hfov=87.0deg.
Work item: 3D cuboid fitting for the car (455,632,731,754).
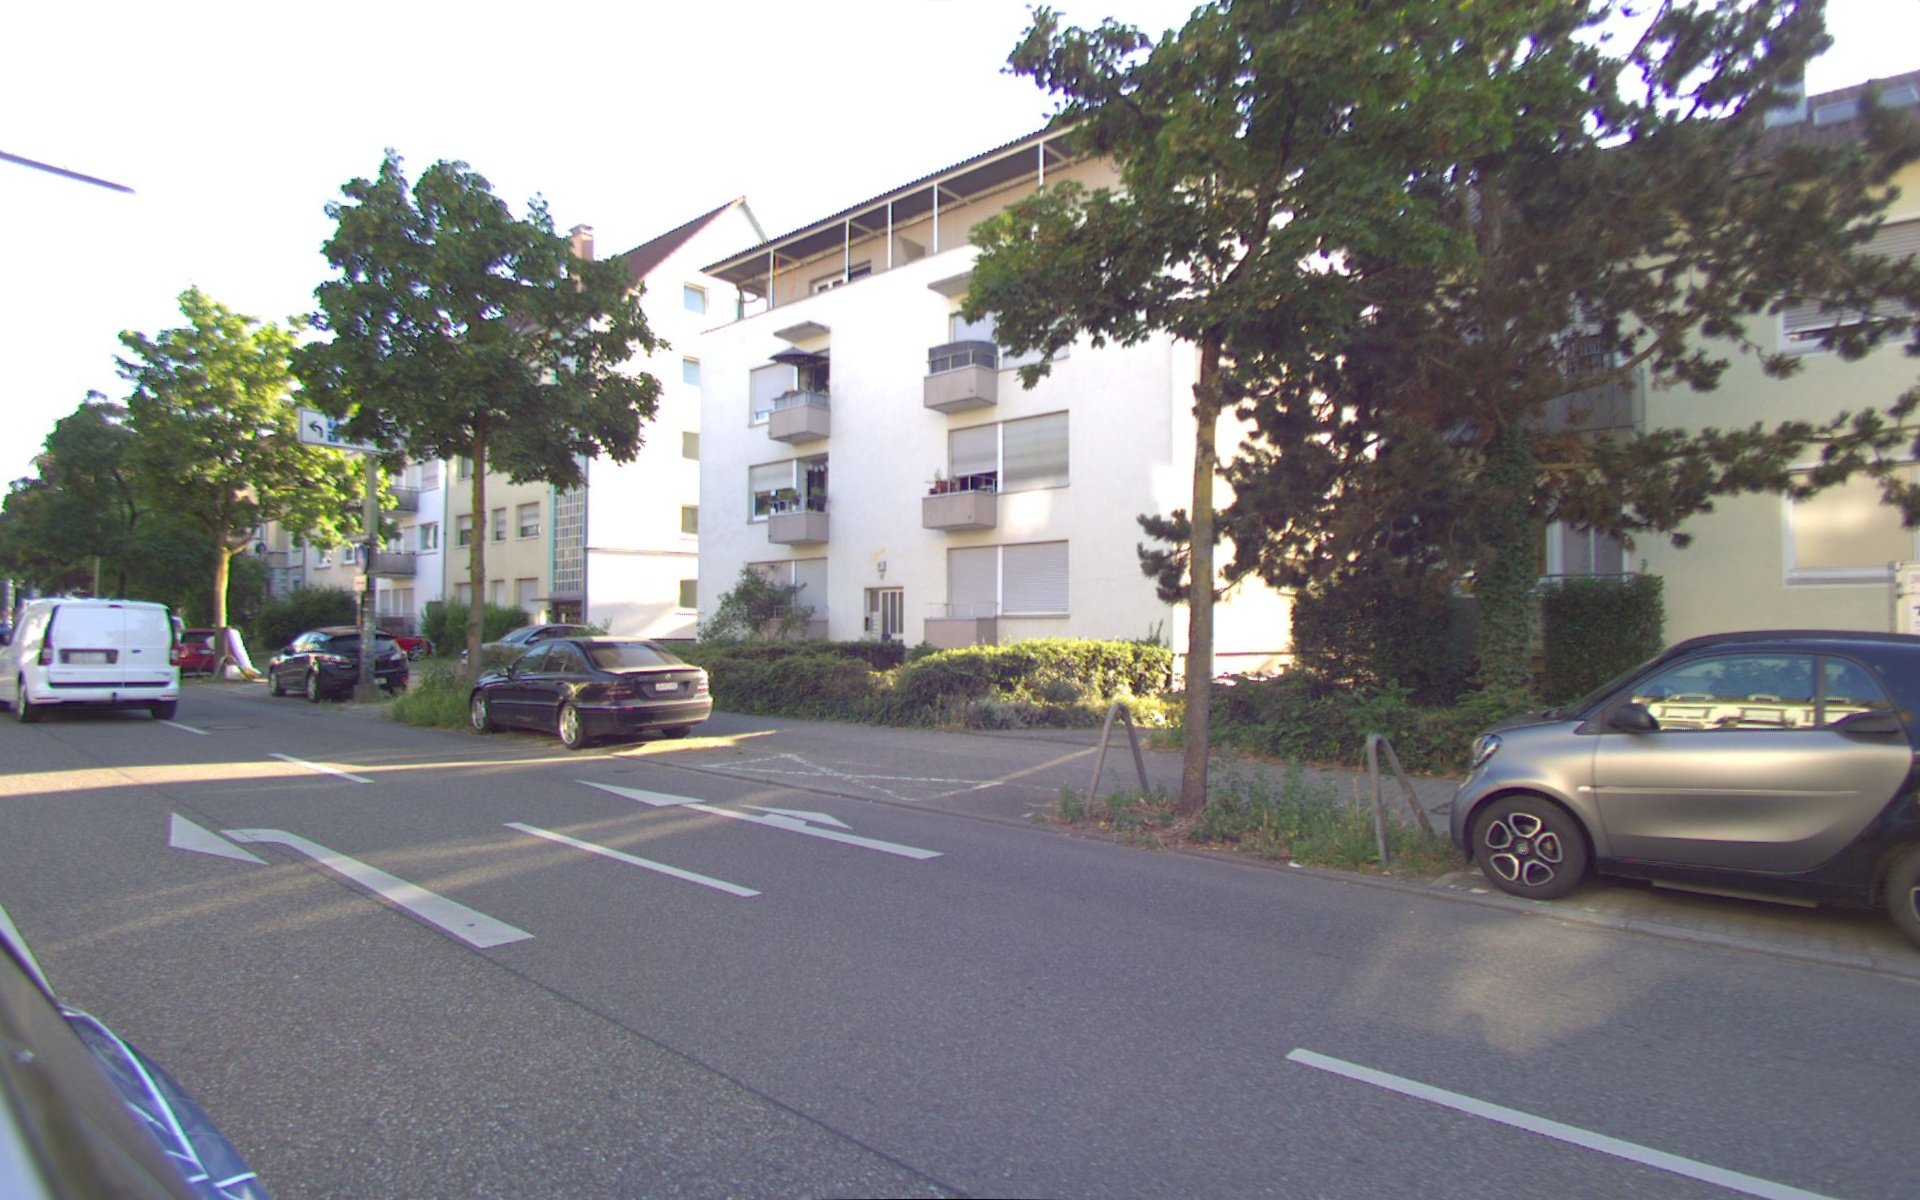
[{"bbox_3d":[-5.173,1.159,13.948,4.441,1.418,1.620,-1,-2,41],"label":"car"}]

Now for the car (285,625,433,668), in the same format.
[{"bbox_3d":[-22.464,1.695,38.005,1.735,1.416,4.516,-1,0,31],"label":"car"}]

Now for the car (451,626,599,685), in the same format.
[{"bbox_3d":[-12.103,1.512,28.291,1.686,1.535,3.422,-2,-3,42],"label":"car"}]

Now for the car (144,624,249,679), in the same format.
[{"bbox_3d":[-22.154,1.450,29.337,3.634,1.475,1.717,-1,-2,41],"label":"car"}]

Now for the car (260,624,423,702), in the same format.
[{"bbox_3d":[-13.190,1.283,21.514,3.998,1.497,1.838,-2,-3,41],"label":"car"}]

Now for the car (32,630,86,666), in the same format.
[{"bbox_3d":[-39.440,2.067,44.265,3.682,1.475,1.388,-1,0,43],"label":"car"}]

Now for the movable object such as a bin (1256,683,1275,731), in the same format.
[{"bbox_3d":[6.621,2.307,21.925,0.207,1.010,0.519,-2,-4,41],"label":"movable object such as a bin"}]

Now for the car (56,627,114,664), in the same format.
[{"bbox_3d":[-35.926,1.837,41.514,3.682,1.416,1.388,-1,0,43],"label":"car"}]

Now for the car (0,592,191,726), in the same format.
[{"bbox_3d":[-13.905,0.894,15.902,4.427,1.817,1.869,-1,-4,40],"label":"car"}]

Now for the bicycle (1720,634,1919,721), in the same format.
[{"bbox_3d":[11.342,0.983,13.367,2.045,1.072,0.513,-1,-2,41],"label":"bicycle"}]

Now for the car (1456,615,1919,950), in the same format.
[{"bbox_3d":[4.513,0.883,5.748,2.747,1.567,1.557,-1,-2,40],"label":"car"}]

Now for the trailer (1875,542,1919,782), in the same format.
[{"bbox_3d":[9.510,0.554,9.202,1.551,2.029,2.746,-1,-3,39],"label":"trailer"}]
